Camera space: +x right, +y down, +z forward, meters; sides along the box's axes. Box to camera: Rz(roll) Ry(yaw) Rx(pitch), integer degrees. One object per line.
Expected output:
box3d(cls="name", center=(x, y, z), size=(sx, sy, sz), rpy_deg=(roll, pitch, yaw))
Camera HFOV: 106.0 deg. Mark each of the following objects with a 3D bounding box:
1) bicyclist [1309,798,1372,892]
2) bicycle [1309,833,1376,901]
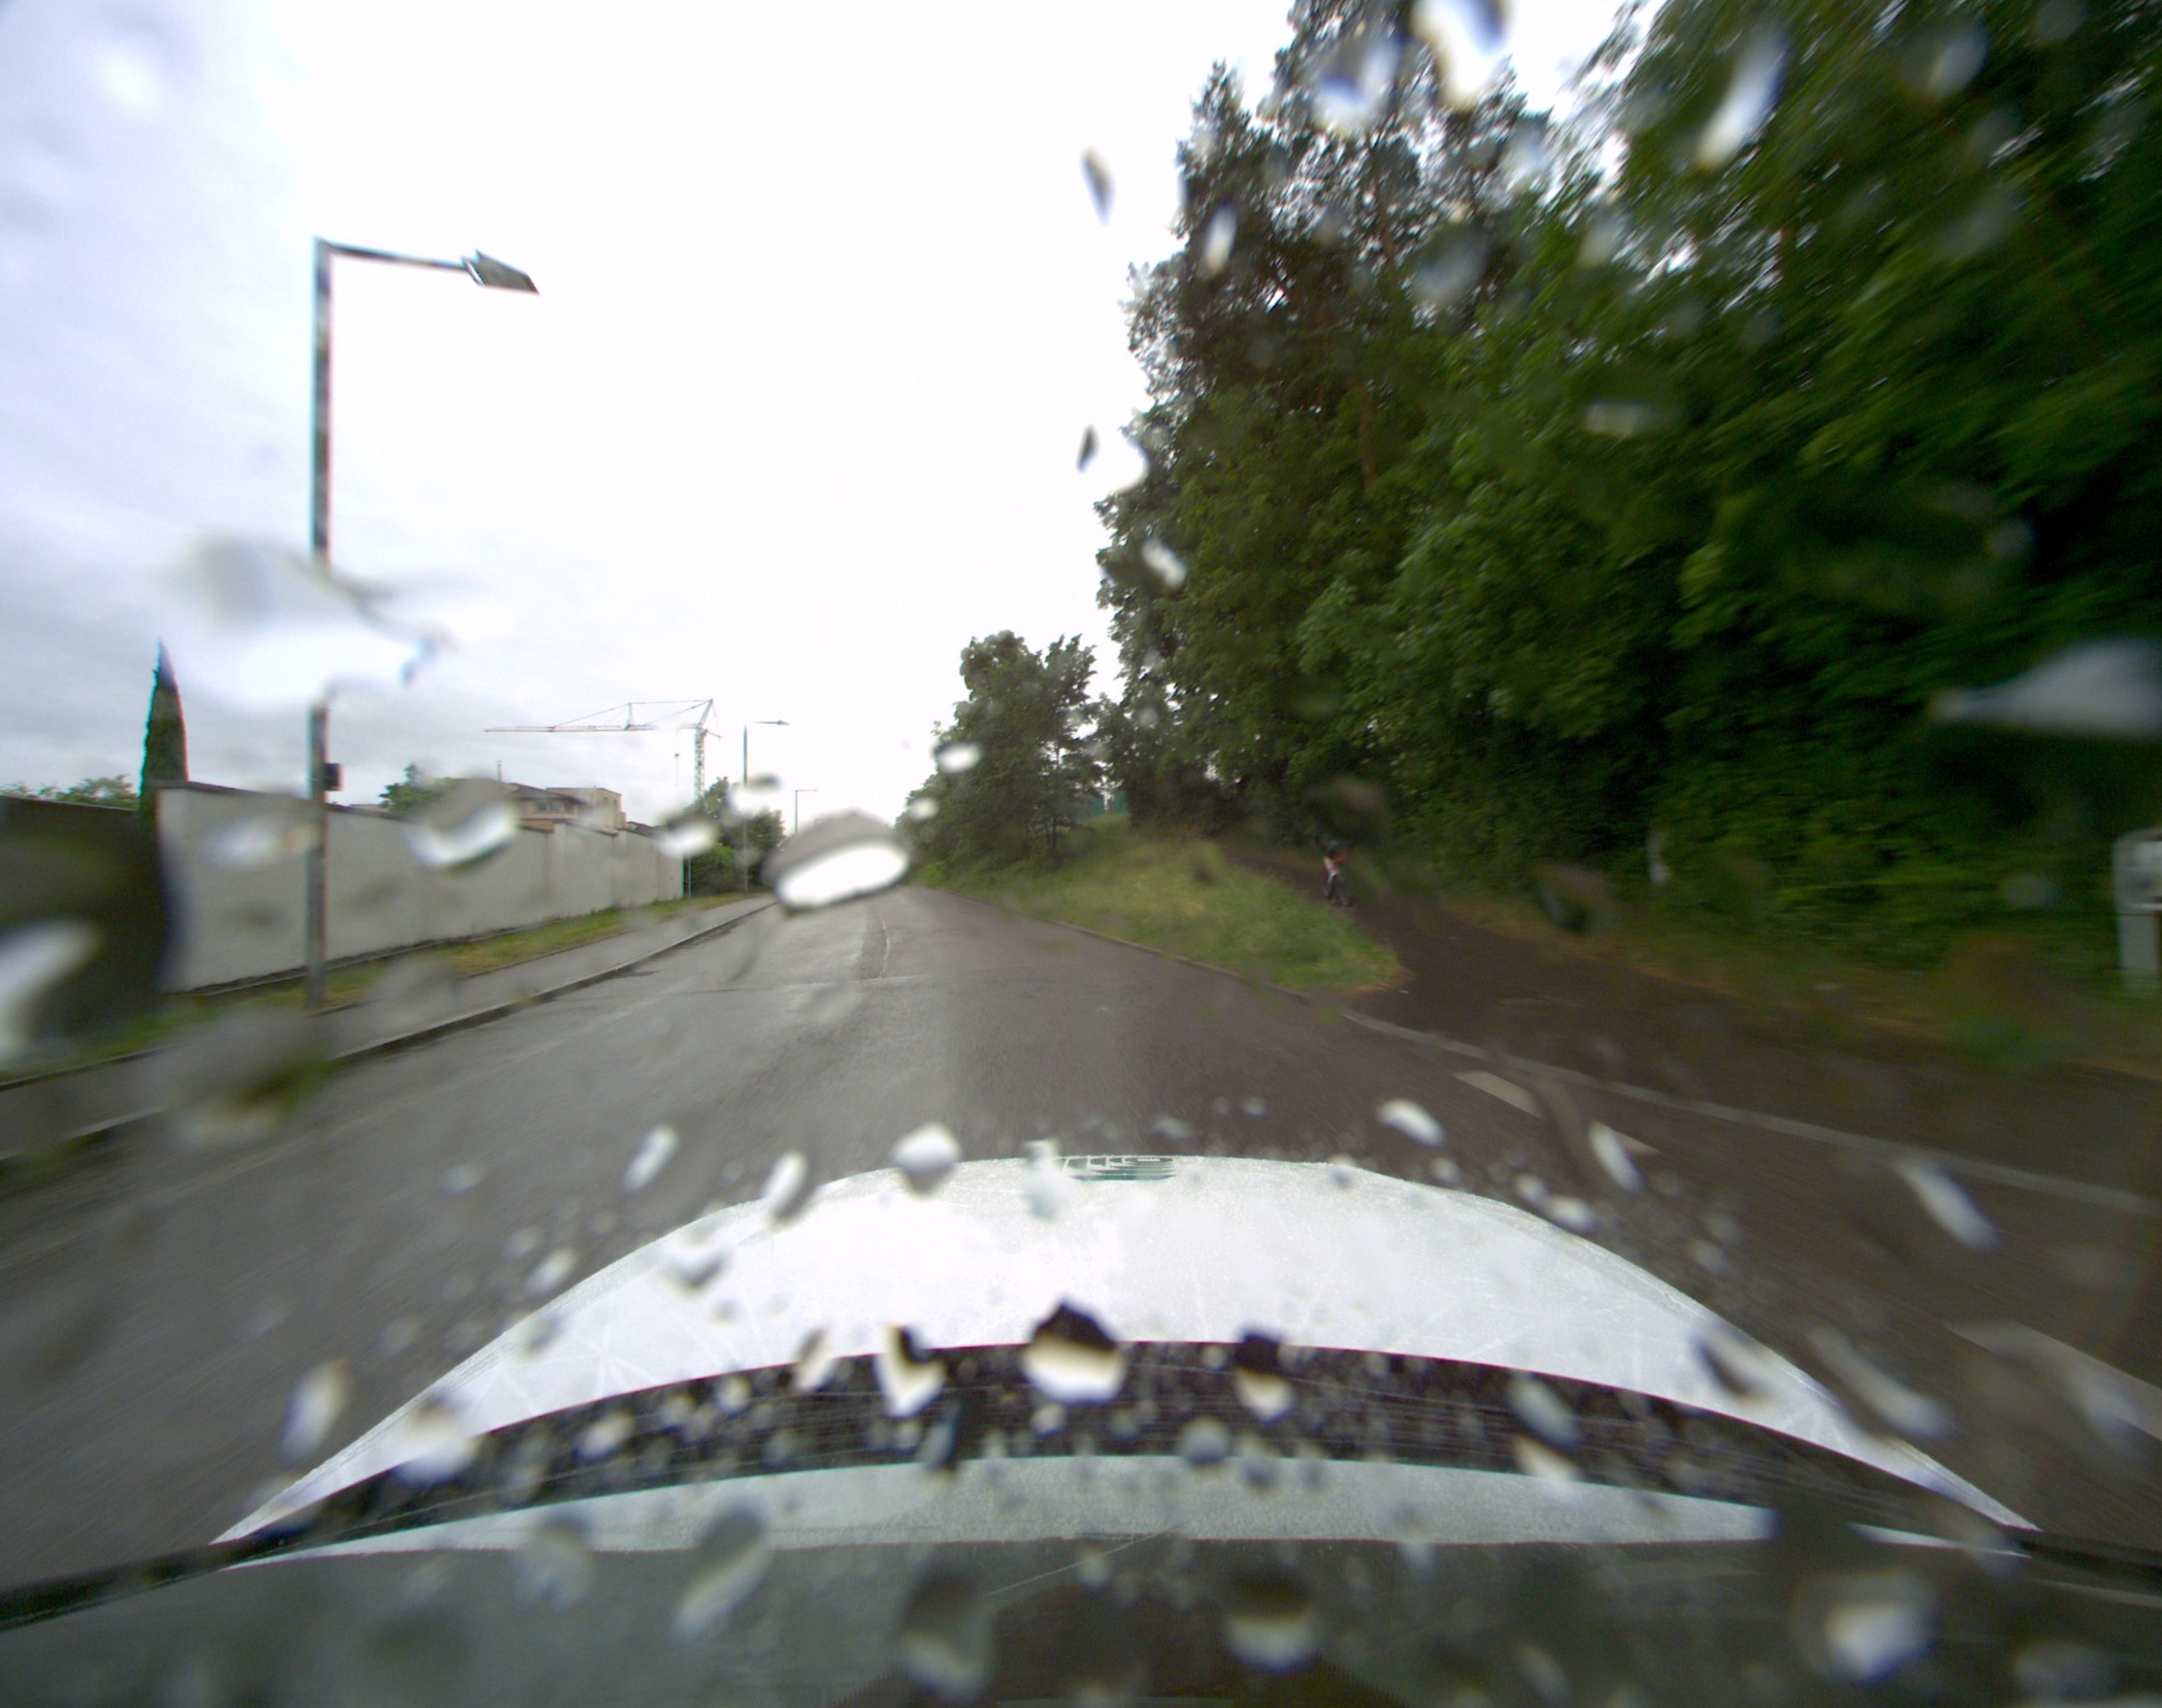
box3d(cls="bicyclist", center=(4.658, -0.184, 14.669), size=(0.721, 1.614, 0.902), rpy_deg=(-2, 5, -13))
box3d(cls="bicycle", center=(4.686, 0.201, 14.693), size=(0.527, 1.084, 1.617), rpy_deg=(-2, 4, -7))
